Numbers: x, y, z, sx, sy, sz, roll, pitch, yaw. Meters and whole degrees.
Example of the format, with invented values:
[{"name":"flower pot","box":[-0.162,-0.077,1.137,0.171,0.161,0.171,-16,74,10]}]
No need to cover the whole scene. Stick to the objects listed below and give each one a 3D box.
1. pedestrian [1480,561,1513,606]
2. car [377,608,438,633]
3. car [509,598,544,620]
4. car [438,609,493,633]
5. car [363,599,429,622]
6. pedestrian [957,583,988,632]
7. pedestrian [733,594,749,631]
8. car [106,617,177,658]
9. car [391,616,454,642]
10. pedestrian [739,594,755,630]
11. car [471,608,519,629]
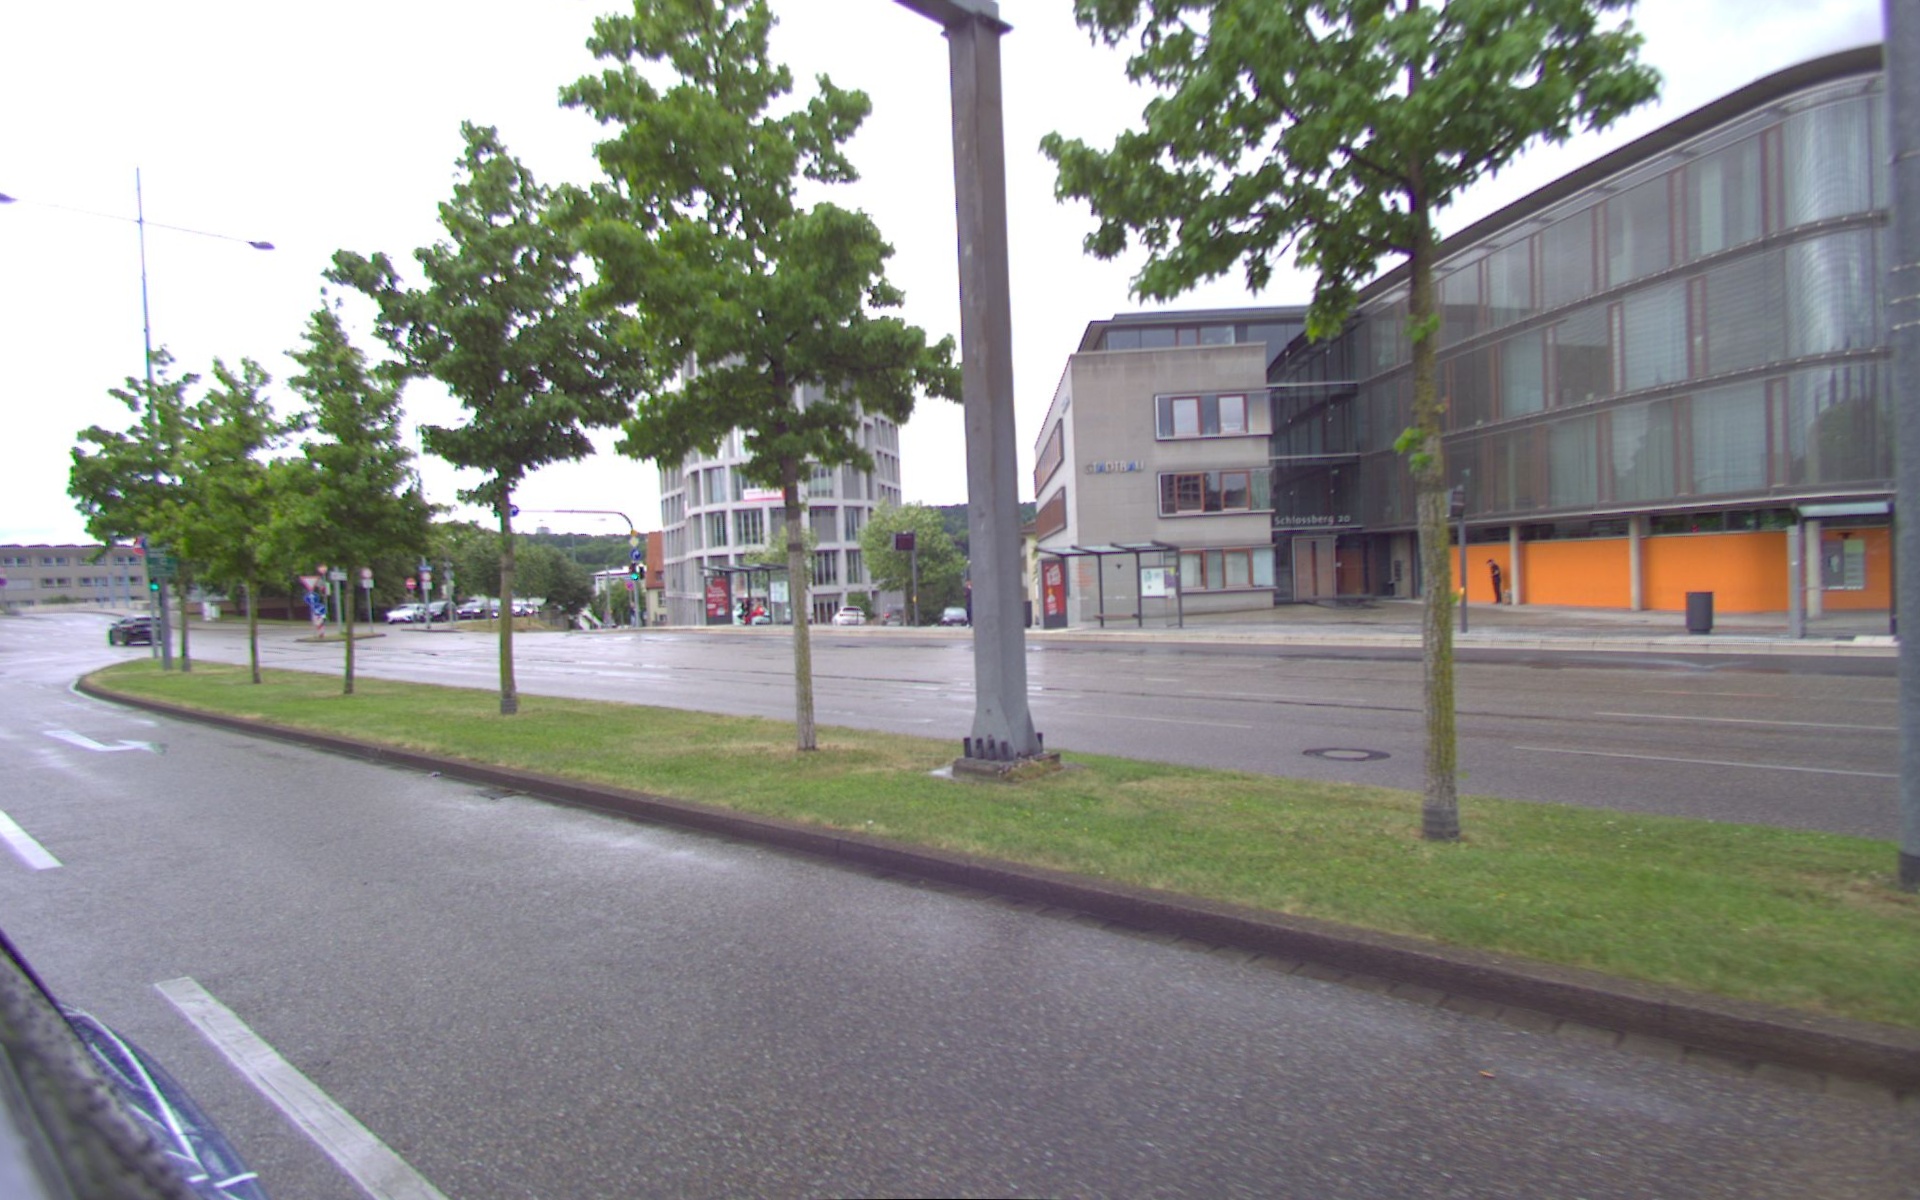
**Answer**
[{"name":"pedestrian","box":[20.007,-0.604,37.752,0.697,1.666,0.852,-1,-1,-6]},{"name":"car","box":[-41.904,1.543,76.887,2.164,1.725,4.919,-1,0,-3]},{"name":"car","box":[-40.988,0.874,95.739,1.969,2.029,4.005,-1,-2,-6]},{"name":"car","box":[-39.203,1.657,80.433,2.164,1.725,4.920,-1,0,-3]},{"name":"car","box":[-53.739,1.020,96.543,4.963,2.029,2.311,-1,0,0]},{"name":"pedestrian","box":[0.471,0.272,36.944,0.964,1.774,0.783,-1,0,12]},{"name":"pedestrian","box":[-9.972,0.560,46.055,0.501,1.647,0.497,-1,0,41]},{"name":"car","box":[-39.277,1.772,48.521,3.998,1.789,1.973,-2,0,41]},{"name":"car","box":[-38.954,2.078,73.505,2.164,1.725,4.920,-1,0,-3]},{"name":"pedestrian","box":[-9.803,0.559,46.624,0.535,1.647,0.514,-1,0,41]},{"name":"car","box":[-40.778,1.587,88.877,2.164,1.725,4.920,-1,0,-3]}]
